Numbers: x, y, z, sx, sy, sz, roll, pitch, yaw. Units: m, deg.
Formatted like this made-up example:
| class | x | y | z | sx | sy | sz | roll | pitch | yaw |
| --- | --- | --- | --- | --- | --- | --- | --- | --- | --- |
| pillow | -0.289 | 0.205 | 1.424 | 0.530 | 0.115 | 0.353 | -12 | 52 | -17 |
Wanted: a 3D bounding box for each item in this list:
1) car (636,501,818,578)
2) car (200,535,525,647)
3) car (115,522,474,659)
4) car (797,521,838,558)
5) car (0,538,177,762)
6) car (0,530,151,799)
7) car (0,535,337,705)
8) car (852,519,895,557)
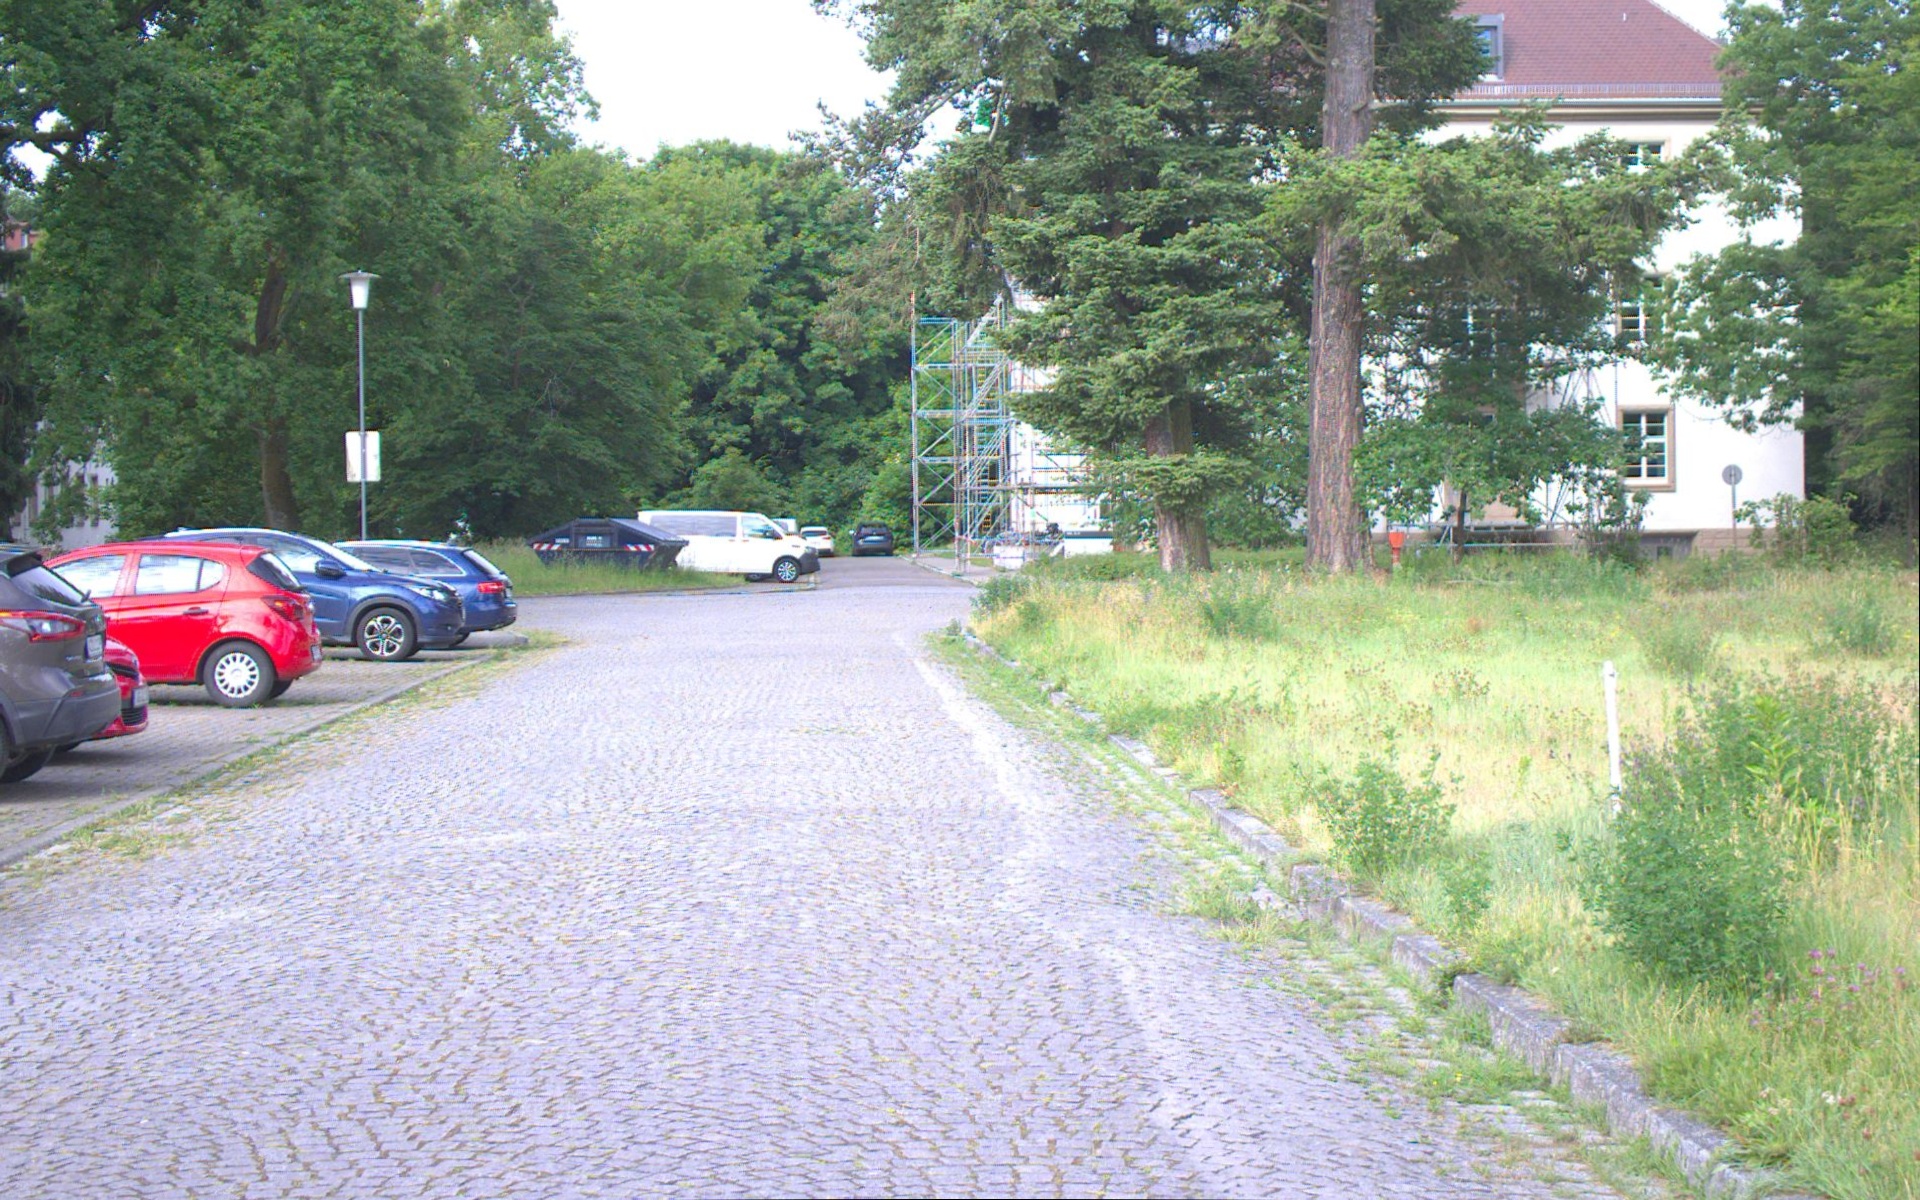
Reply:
| class | x | y | z | sx | sy | sz | roll | pitch | yaw |
| --- | --- | --- | --- | --- | --- | --- | --- | --- | --- |
| car | -6.463 | -1.668 | 95.396 | 4.977 | 2.065 | 2.052 | 0 | 0 | -3 |
| car | -8.015 | -0.136 | 46.346 | 4.071 | 1.462 | 1.626 | 0 | 1 | 1 |
| car | -8.012 | -0.137 | 41.644 | 4.071 | 1.598 | 1.788 | 0 | 2 | -4 |
| car | -6.696 | -2.826 | 161.474 | 1.790 | 1.630 | 4.061 | -1 | 0 | -4 |
| car | -7.529 | 0.325 | 23.875 | 3.815 | 1.481 | 1.762 | 0 | 2 | -2 |
| car | -7.199 | 0.366 | 21.098 | 4.067 | 1.570 | 1.955 | 0 | 2 | -3 |
| car | -7.729 | 0.163 | 31.400 | 3.815 | 1.484 | 1.788 | 0 | 2 | -3 |
| car | -4.087 | -2.903 | 161.888 | 1.790 | 1.714 | 4.061 | -1 | 0 | -4 |
